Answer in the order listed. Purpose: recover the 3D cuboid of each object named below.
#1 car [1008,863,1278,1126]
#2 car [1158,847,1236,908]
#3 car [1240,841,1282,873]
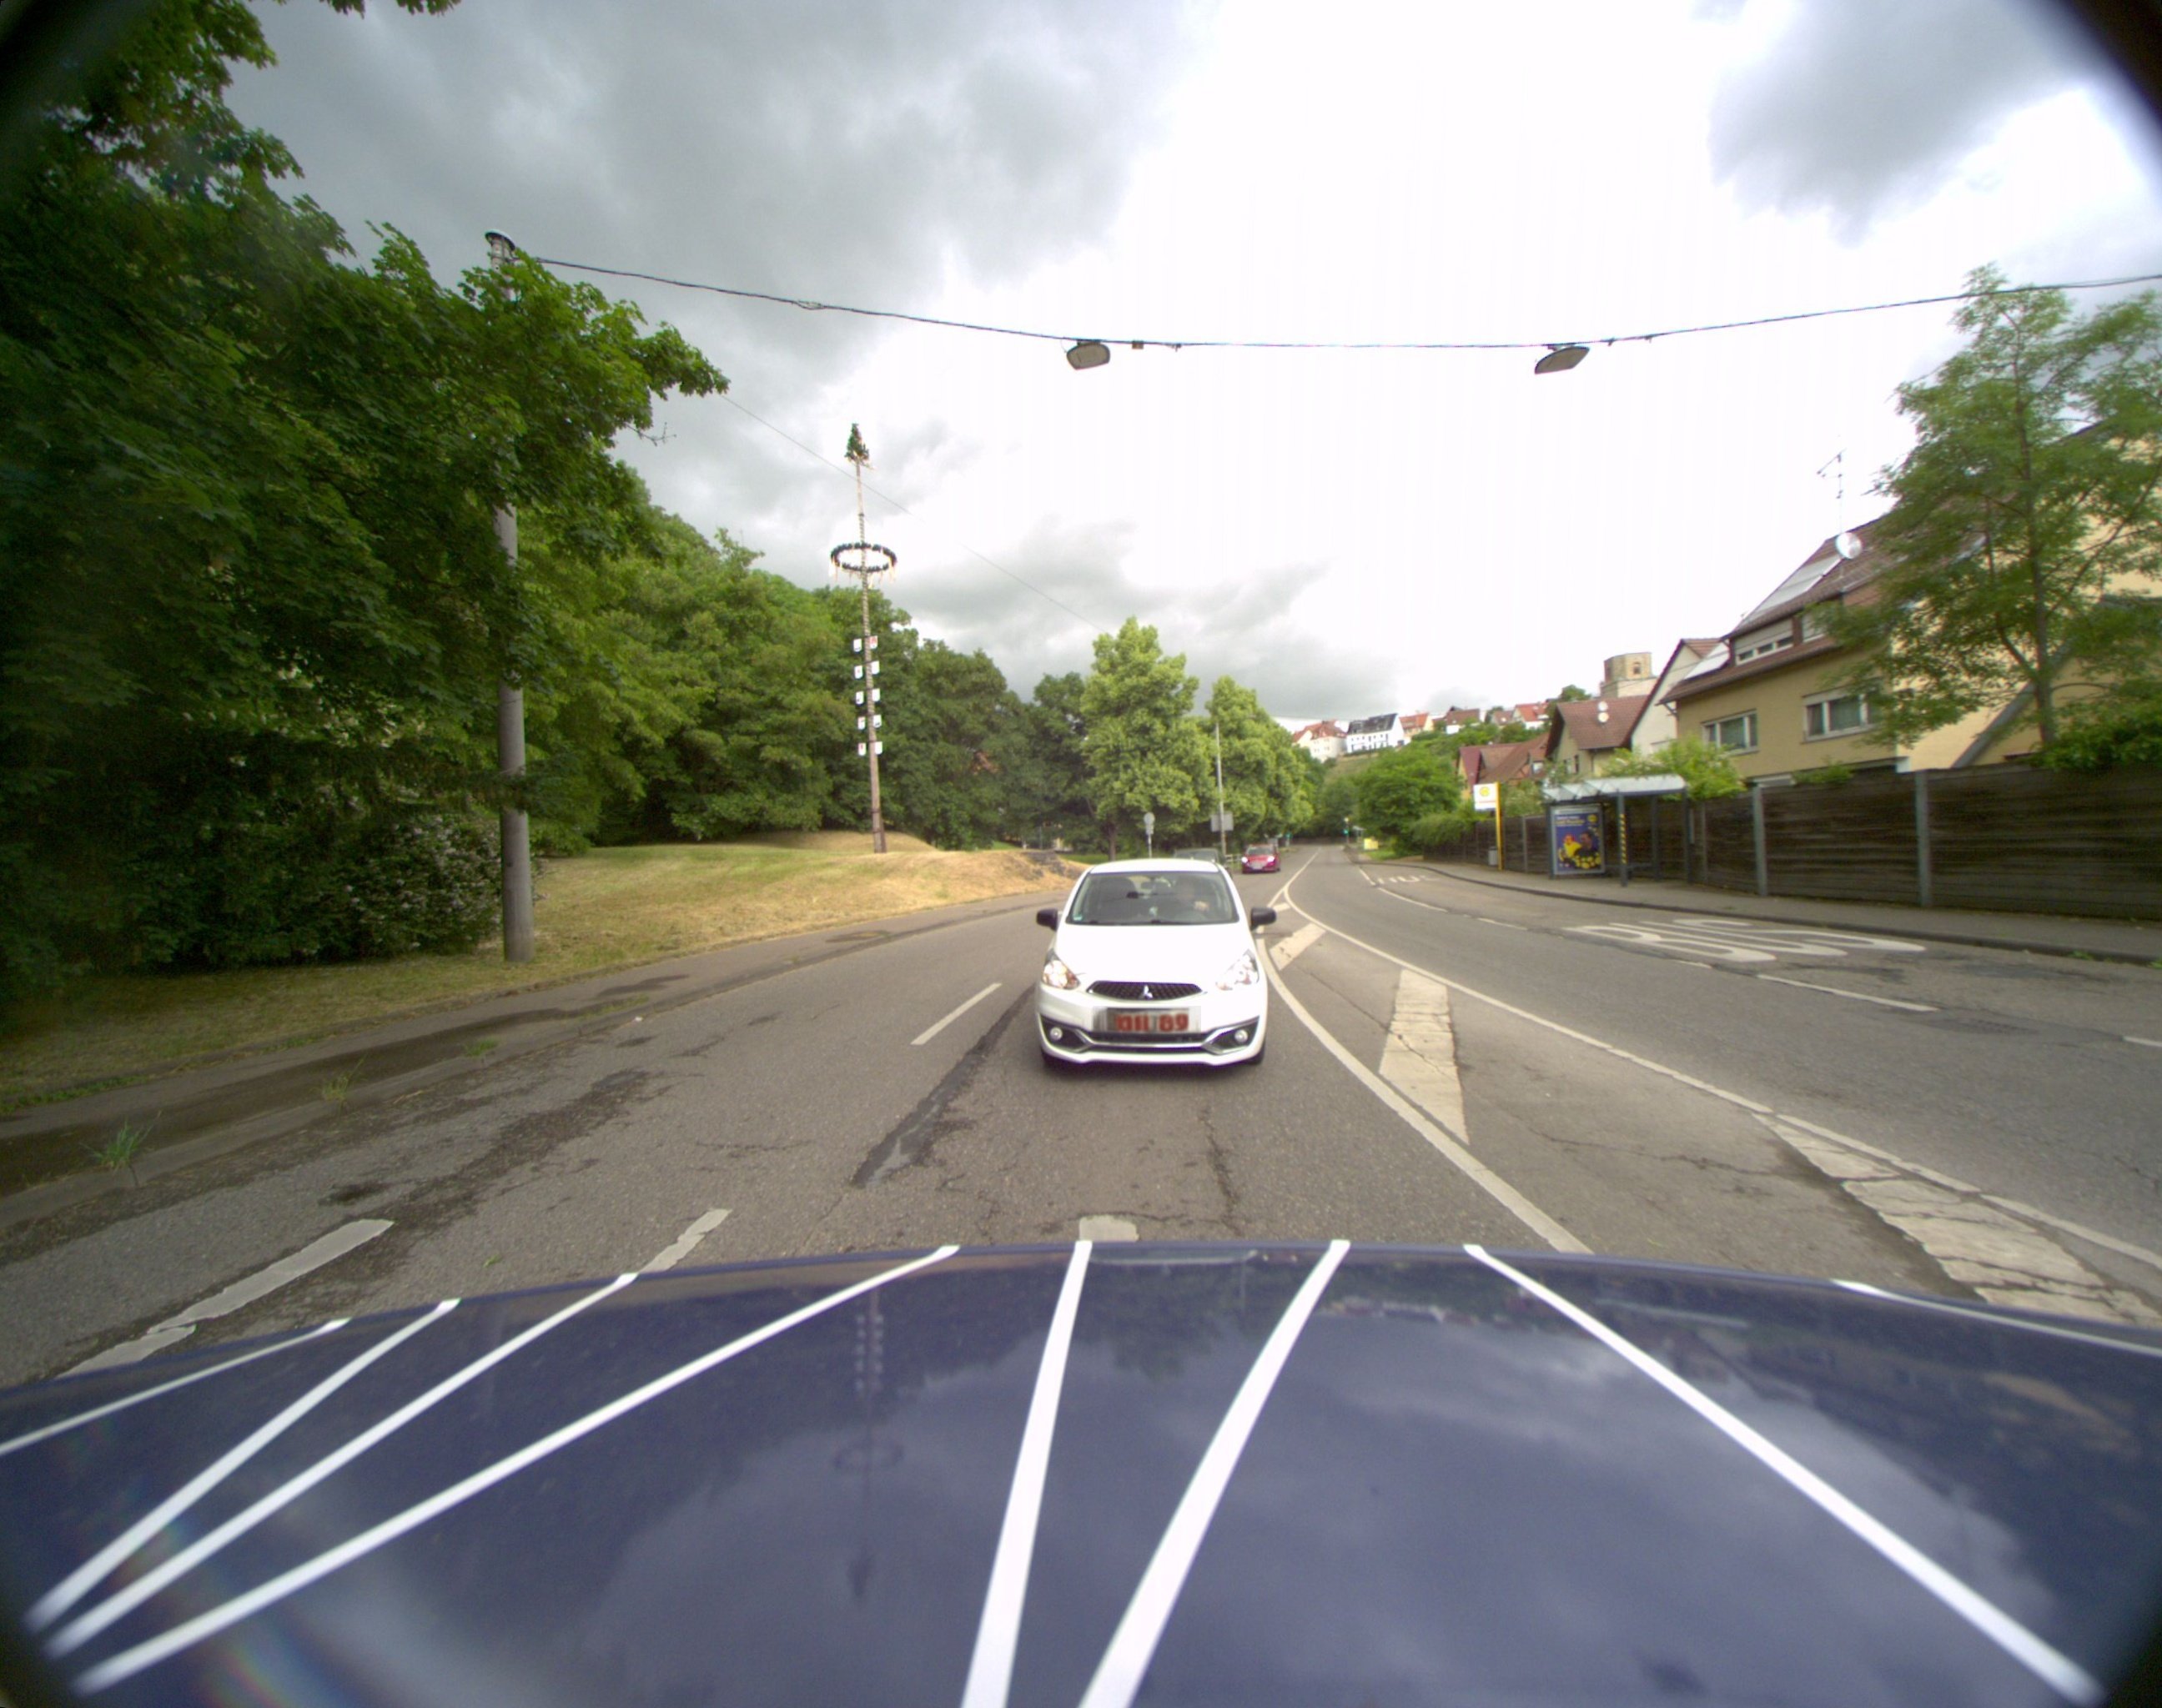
[{"bbox_3d":[0.645,0.904,6.500,1.617,1.505,3.607,-2,1,9],"label":"car"},{"bbox_3d":[3.479,0.618,22.256,1.722,1.539,3.786,-2,1,16],"label":"car"},{"bbox_3d":[10.354,0.140,43.530,1.825,1.662,4.063,-2,1,20],"label":"car"}]
